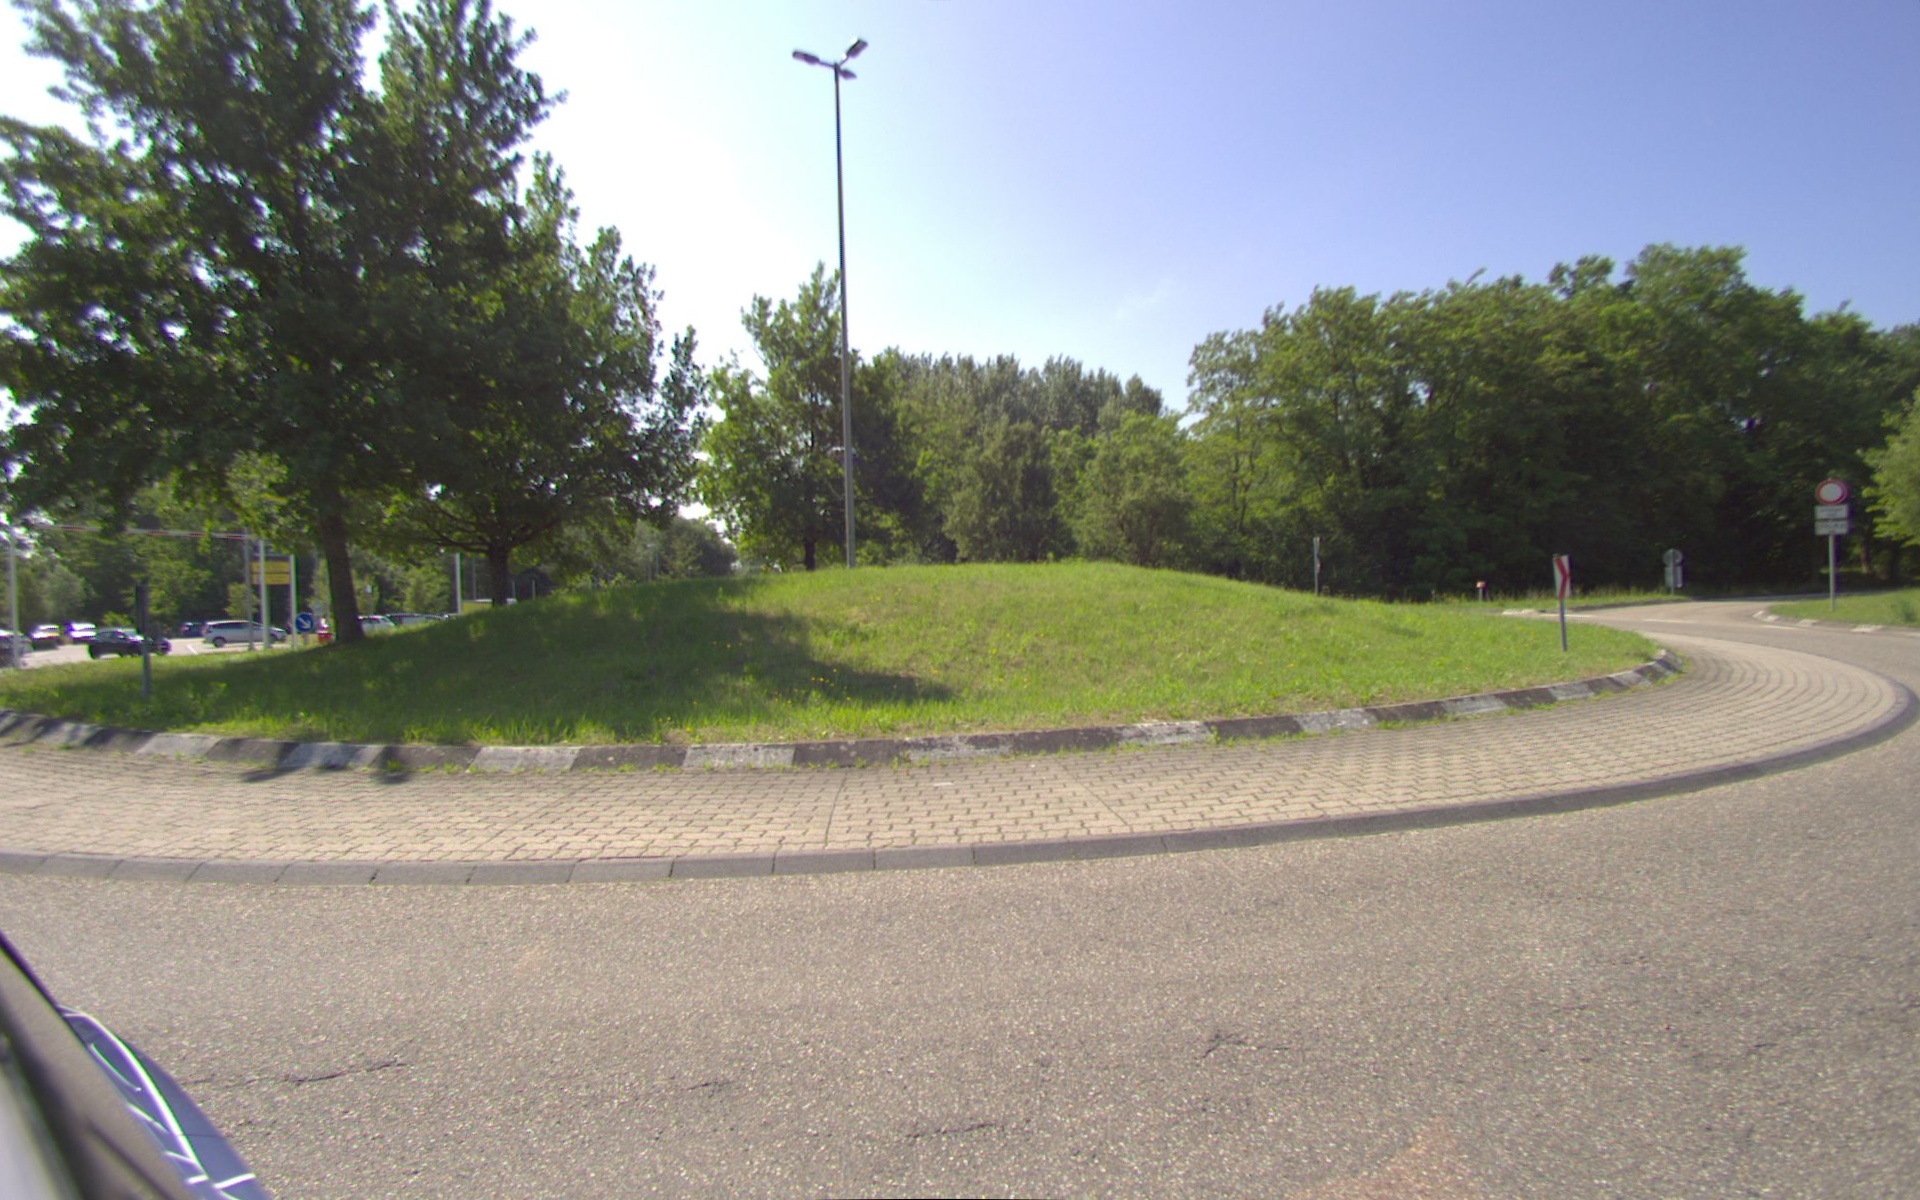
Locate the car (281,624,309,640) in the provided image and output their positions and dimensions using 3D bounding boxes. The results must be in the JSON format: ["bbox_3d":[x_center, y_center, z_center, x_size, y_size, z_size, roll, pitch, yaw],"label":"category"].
[{"bbox_3d":[-67.817,3.221,103.191,2.038,1.497,4.009,-2,0,-37],"label":"car"}]

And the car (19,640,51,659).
[{"bbox_3d":[-82.651,4.393,90.470,1.767,1.608,4.269,-1,-1,-38],"label":"car"}]

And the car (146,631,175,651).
[{"bbox_3d":[-76.089,3.887,96.354,2.038,1.724,4.009,-2,0,-37],"label":"car"}]

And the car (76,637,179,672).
[{"bbox_3d":[-44.280,2.866,53.903,3.937,1.600,1.664,-3,-1,-8],"label":"car"}]

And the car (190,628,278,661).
[{"bbox_3d":[-47.360,2.883,66.031,4.488,1.714,2.004,-5,1,-38],"label":"car"}]

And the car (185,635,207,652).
[{"bbox_3d":[-73.802,4.161,97.818,1.636,1.497,4.382,-1,-1,-37],"label":"car"}]

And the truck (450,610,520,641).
[{"bbox_3d":[-44.004,2.351,93.906,5.524,2.625,2.208,-2,-1,-12],"label":"truck"}]

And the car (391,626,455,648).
[{"bbox_3d":[-39.863,2.758,75.251,3.931,1.438,1.754,-2,-1,-18],"label":"car"}]

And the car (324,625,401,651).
[{"bbox_3d":[-38.250,2.413,64.844,3.934,1.453,1.654,-2,-1,-11],"label":"car"}]

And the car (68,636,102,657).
[{"bbox_3d":[-79.920,4.204,92.471,2.038,1.724,4.009,-2,0,-37],"label":"car"}]

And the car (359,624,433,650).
[{"bbox_3d":[-39.089,2.558,70.212,4.097,1.586,2.005,-3,-1,-14],"label":"car"}]

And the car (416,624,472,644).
[{"bbox_3d":[-42.376,2.756,83.249,3.906,1.464,1.911,-2,-1,-21],"label":"car"}]

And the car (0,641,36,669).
[{"bbox_3d":[-61.687,3.580,64.399,3.933,1.674,2.005,-2,-1,-32],"label":"car"}]

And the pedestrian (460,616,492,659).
[{"bbox_3d":[-20.574,1.588,43.016,0.874,1.799,0.836,-3,-1,21],"label":"pedestrian"}]

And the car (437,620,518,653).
[{"bbox_3d":[-25.007,1.897,52.543,3.544,1.574,1.819,-1,-1,-16],"label":"car"}]

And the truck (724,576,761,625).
[{"bbox_3d":[-18.253,0.100,85.321,2.679,3.944,5.962,-2,-1,-9],"label":"truck"}]
